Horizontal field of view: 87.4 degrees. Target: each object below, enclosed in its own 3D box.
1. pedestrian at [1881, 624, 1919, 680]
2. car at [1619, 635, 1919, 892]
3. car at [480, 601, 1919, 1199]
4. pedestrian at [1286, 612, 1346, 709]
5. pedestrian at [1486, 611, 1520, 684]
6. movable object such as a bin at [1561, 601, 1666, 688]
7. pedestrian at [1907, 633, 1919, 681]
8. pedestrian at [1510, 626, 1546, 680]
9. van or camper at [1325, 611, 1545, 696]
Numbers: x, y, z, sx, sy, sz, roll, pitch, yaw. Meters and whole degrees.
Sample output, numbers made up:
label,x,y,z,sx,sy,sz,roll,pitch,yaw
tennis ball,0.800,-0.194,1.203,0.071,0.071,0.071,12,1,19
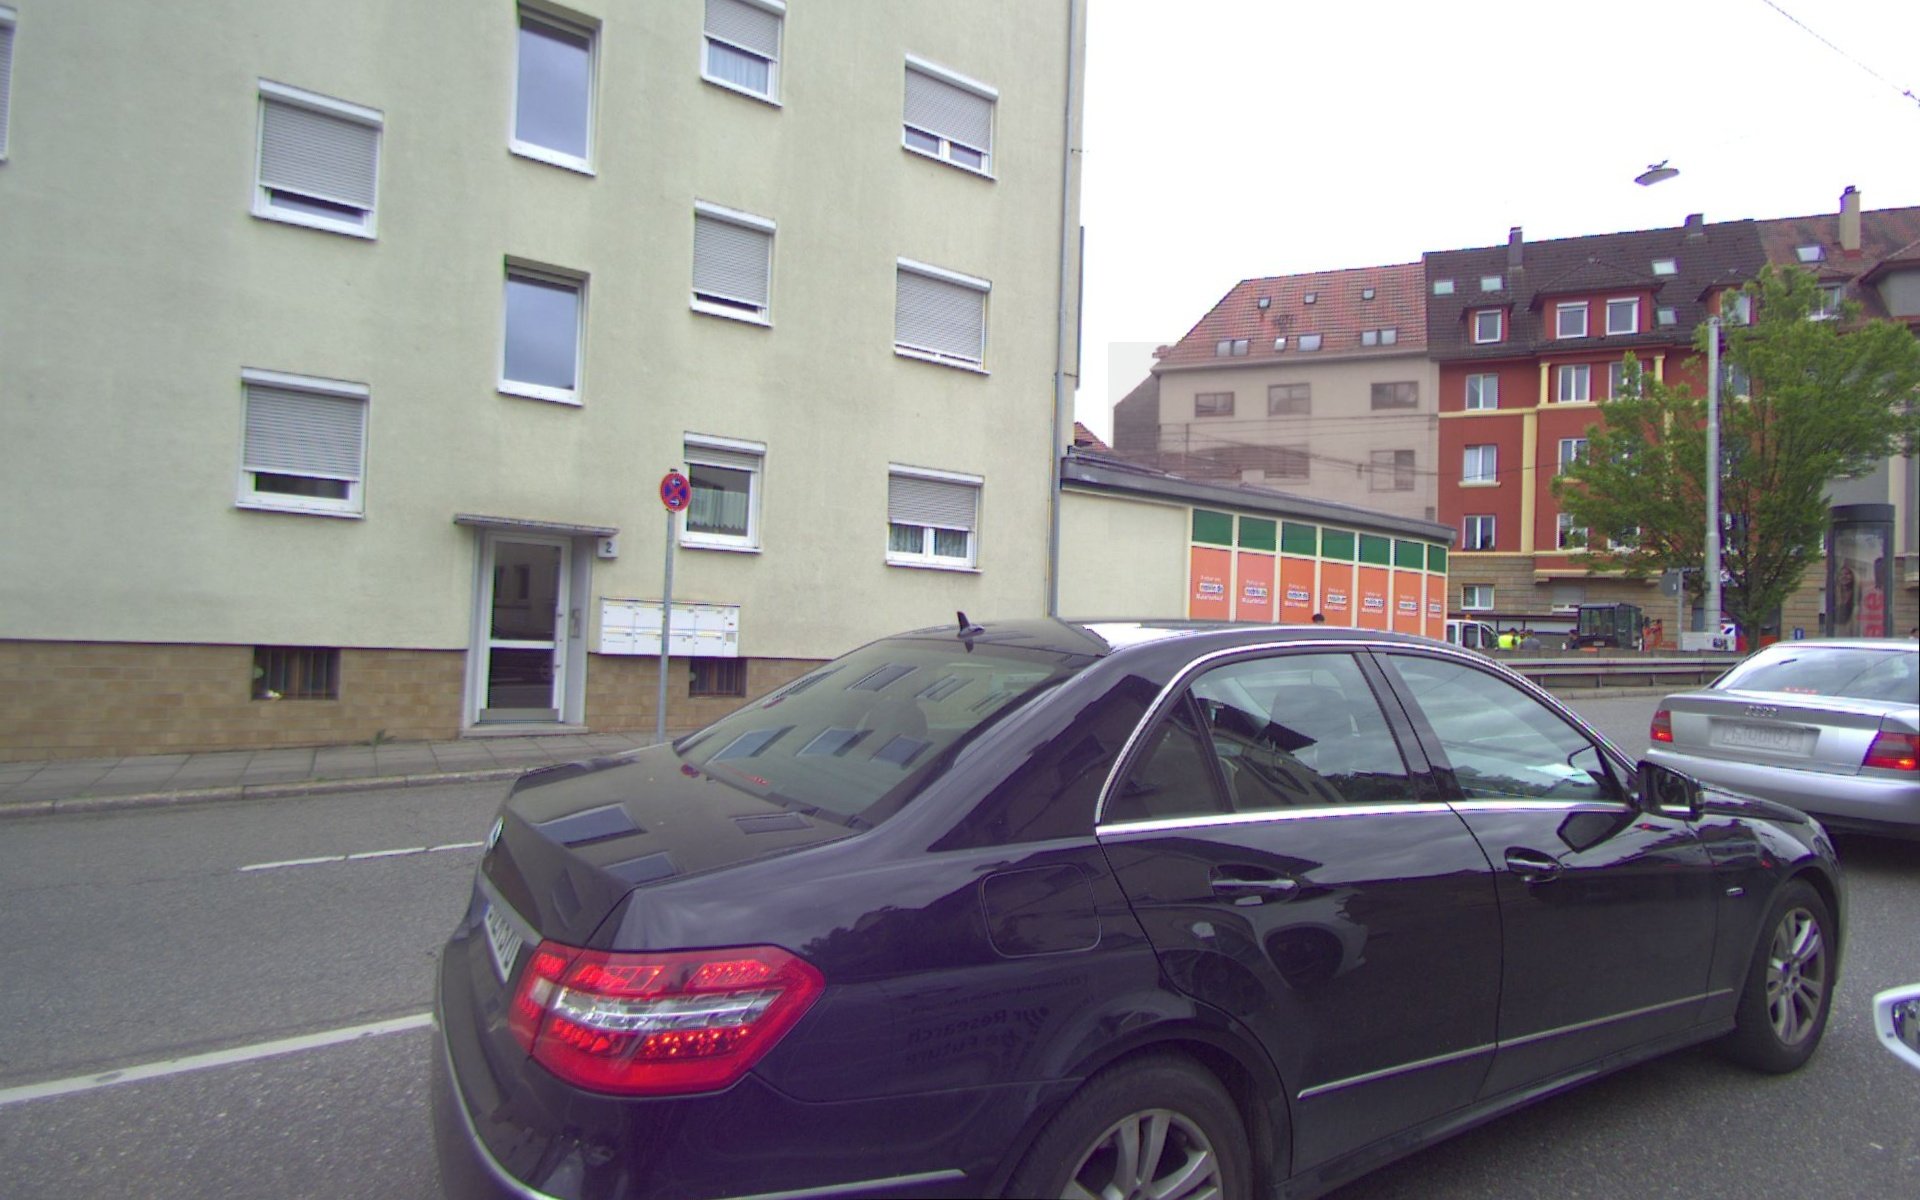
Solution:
label,x,y,z,sx,sy,sz,roll,pitch,yaw
pedestrian,26.841,1.475,28.479,0.724,1.567,0.794,0,-1,-3
car,6.704,0.948,7.076,4.073,1.383,1.623,1,-2,-26
car,1.106,0.770,3.395,4.785,1.448,1.984,1,0,-30
pedestrian,6.274,1.038,17.706,0.772,1.658,0.683,1,-1,-38
pedestrian,15.459,1.340,28.620,0.811,2.040,0.679,0,0,28
movable object such as a bin,16.550,1.101,25.389,3.510,2.040,1.363,2,-2,-42
pedestrian,27.494,1.631,28.585,0.573,1.356,0.576,1,-1,-2
pedestrian,14.746,1.378,26.070,0.613,1.381,0.602,0,-1,4
van or camper,14.532,1.565,31.026,5.894,2.369,2.686,0,-1,26
